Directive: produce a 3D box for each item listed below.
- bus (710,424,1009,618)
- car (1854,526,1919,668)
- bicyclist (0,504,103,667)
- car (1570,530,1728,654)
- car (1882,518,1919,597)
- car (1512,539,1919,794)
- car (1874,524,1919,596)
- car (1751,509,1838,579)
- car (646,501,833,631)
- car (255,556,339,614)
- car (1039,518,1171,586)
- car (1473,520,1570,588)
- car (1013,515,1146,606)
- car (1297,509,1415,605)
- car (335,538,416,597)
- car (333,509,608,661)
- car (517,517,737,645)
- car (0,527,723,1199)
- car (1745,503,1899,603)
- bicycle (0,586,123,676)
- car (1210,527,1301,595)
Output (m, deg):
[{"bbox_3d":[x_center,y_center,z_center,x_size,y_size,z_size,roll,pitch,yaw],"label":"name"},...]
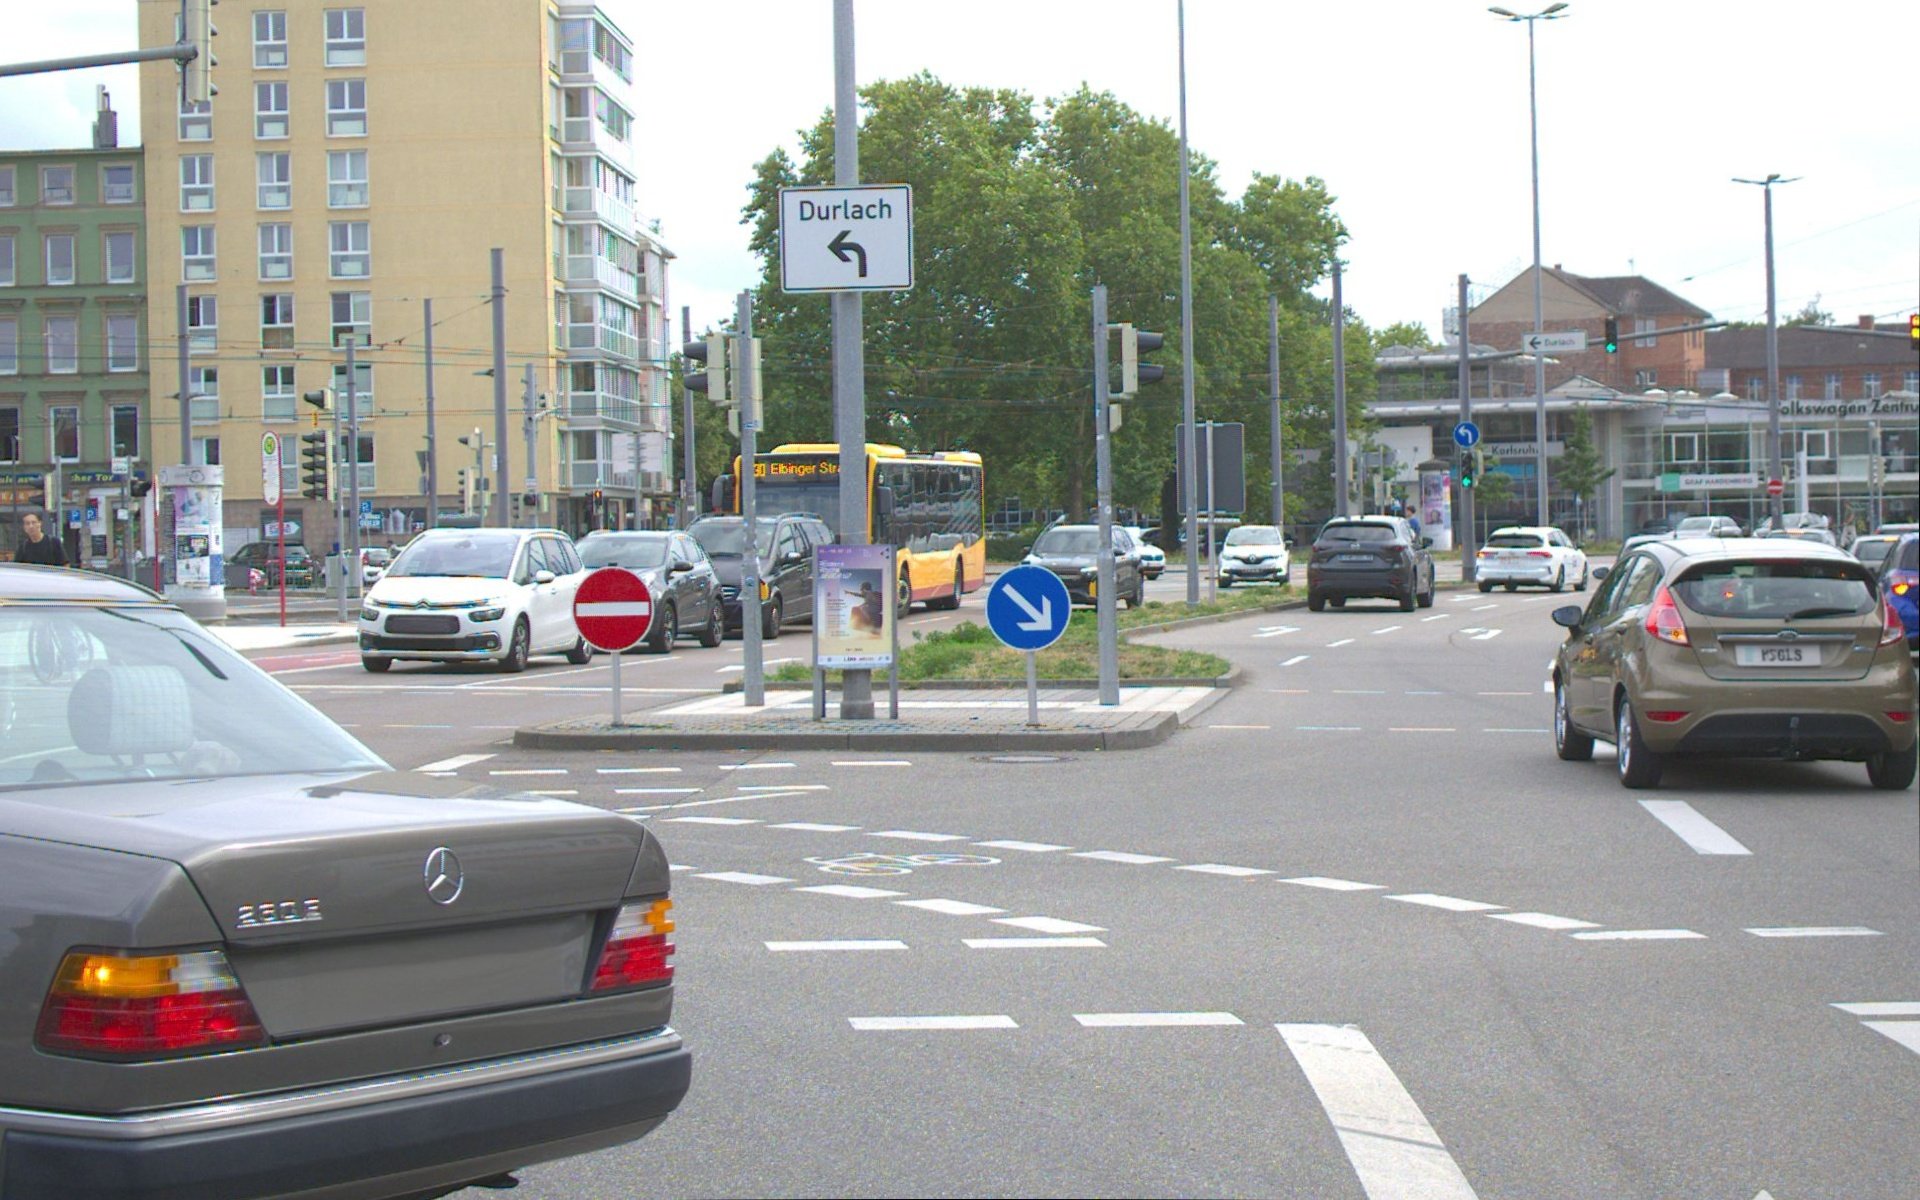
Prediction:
[{"bbox_3d":[-1.622,-1.416,64.151,3.149,3.244,12.408,1,1,10],"label":"bus"},{"bbox_3d":[11.131,-0.043,38.951,1.859,1.527,4.000,1,1,14],"label":"car"},{"bbox_3d":[-9.510,-0.158,35.857,0.867,1.663,0.881,1,1,4],"label":"bicyclist"},{"bbox_3d":[8.402,-0.119,41.741,1.711,1.415,3.998,1,1,13],"label":"car"},{"bbox_3d":[17.888,-0.772,63.308,1.705,1.415,3.698,1,1,14],"label":"car"},{"bbox_3d":[4.586,0.344,20.922,1.695,1.400,3.700,1,1,-2],"label":"car"},{"bbox_3d":[19.489,-0.799,69.862,1.705,1.415,3.698,1,1,14],"label":"car"},{"bbox_3d":[17.616,-1.179,72.448,1.712,1.415,3.997,1,1,14],"label":"car"},{"bbox_3d":[-3.337,-0.530,52.865,1.994,1.892,4.289,1,1,9],"label":"car"},{"bbox_3d":[-23.543,-0.560,122.149,1.994,2.007,4.000,1,1,3],"label":"car"},{"bbox_3d":[4.382,-1.463,104.313,1.994,2.007,4.000,0,1,-34],"label":"car"},{"bbox_3d":[12.244,-0.997,74.859,1.712,1.415,3.997,1,1,14],"label":"car"},{"bbox_3d":[2.299,-0.748,64.978,1.994,1.645,4.511,1,1,9],"label":"car"},{"bbox_3d":[6.981,-0.754,60.415,1.835,1.609,3.545,1,1,10],"label":"car"},{"bbox_3d":[-20.746,-1.160,122.152,1.994,2.007,4.000,1,1,3],"label":"car"},{"bbox_3d":[-5.600,-0.191,39.894,1.994,1.645,4.289,1,1,9],"label":"car"},{"bbox_3d":[-4.493,-0.274,47.023,1.994,1.645,4.289,1,1,9],"label":"car"},{"bbox_3d":[-2.753,0.584,7.082,4.410,1.475,1.697,1,1,34],"label":"car"},{"bbox_3d":[12.875,-0.703,51.357,2.133,1.415,3.698,1,1,14],"label":"car"},{"bbox_3d":[-9.531,0.304,35.816,0.862,0.873,2.519,1,1,4],"label":"bicycle"},{"bbox_3d":[7.522,-0.987,87.144,1.994,1.645,4.511,1,1,9],"label":"car"}]
